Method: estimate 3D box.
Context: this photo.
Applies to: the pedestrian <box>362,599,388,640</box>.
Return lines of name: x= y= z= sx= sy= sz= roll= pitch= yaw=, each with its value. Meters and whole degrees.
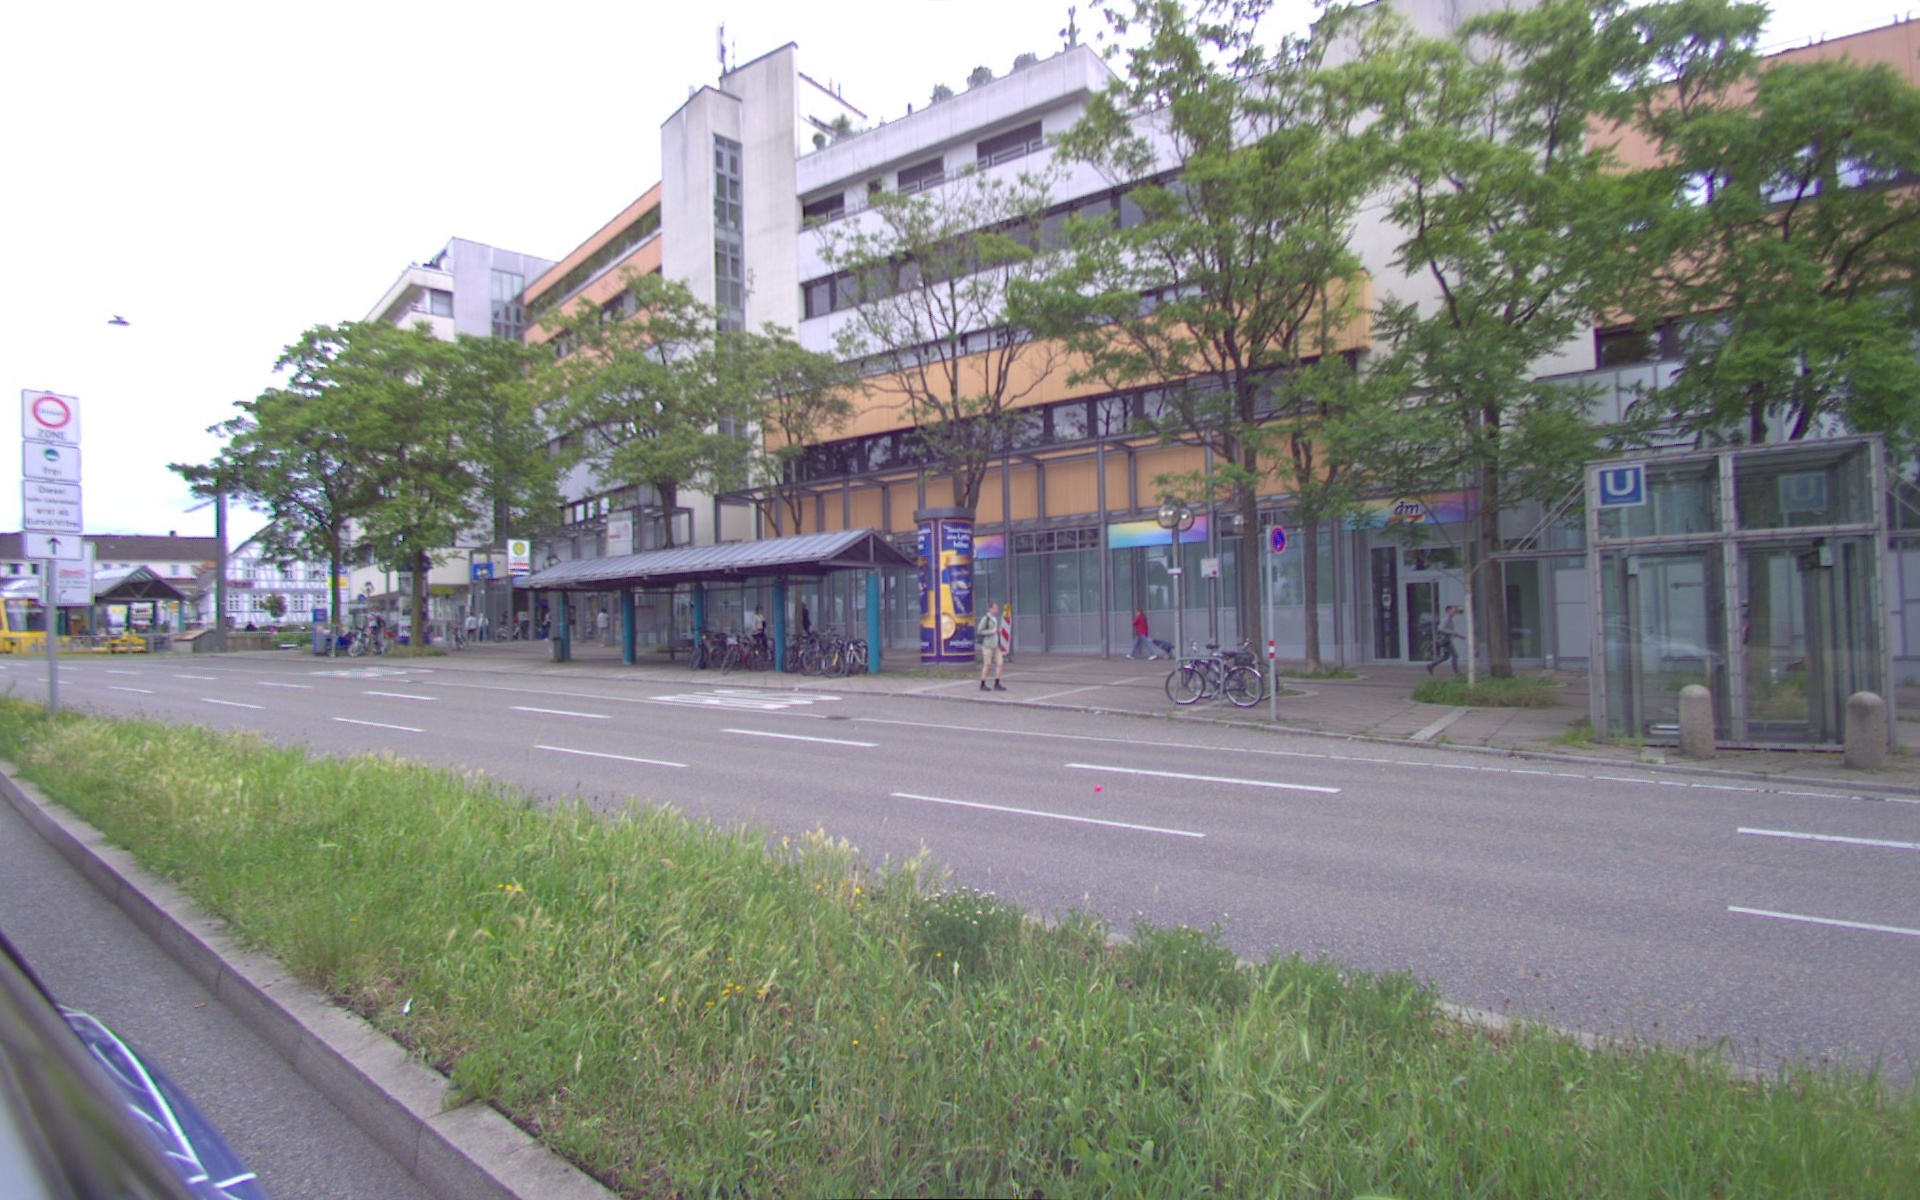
pedestrian: x=-27.365 y=0.903 z=47.312 sx=0.871 sy=1.891 sz=0.738 roll=-2 pitch=-2 yaw=32

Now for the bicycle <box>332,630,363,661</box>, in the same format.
bicycle: x=-24.161 y=1.785 z=39.932 sx=0.594 sy=1.170 sz=1.971 roll=0 pitch=-2 yaw=-18

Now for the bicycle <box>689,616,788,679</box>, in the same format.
bicycle: x=-6.070 y=1.275 z=27.951 sx=0.888 sy=1.518 sz=2.877 roll=-2 pitch=1 yaw=32

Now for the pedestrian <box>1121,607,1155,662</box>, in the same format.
pedestrian: x=5.278 y=1.022 z=29.954 sx=0.822 sy=1.598 sz=0.629 roll=-1 pitch=-2 yaw=31

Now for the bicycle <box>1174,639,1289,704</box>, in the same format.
bicycle: x=5.022 y=1.302 z=18.762 sx=1.946 sy=1.145 sz=0.709 roll=-1 pitch=-2 yaw=26

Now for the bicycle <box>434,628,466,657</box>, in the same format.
bicycle: x=-21.464 y=1.779 z=42.609 sx=0.663 sy=1.170 sz=2.023 roll=-1 pitch=-2 yaw=-11

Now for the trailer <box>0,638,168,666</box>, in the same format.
trailer: x=-46.802 y=2.773 z=53.895 sx=12.072 sy=1.343 sz=2.822 roll=-2 pitch=-2 yaw=29

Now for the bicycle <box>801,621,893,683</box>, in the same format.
bicycle: x=-2.856 y=1.299 z=26.010 sx=0.698 sy=1.518 sz=2.876 roll=-2 pitch=-2 yaw=32

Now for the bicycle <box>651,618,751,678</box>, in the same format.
bicycle: x=-7.313 y=1.325 z=28.775 sx=0.969 sy=1.518 sz=2.877 roll=-2 pitch=0 yaw=32

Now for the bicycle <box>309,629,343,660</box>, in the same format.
bicycle: x=-25.034 y=1.744 z=39.977 sx=0.594 sy=1.170 sz=1.971 roll=-2 pitch=0 yaw=-17

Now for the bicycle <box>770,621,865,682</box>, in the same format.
bicycle: x=-3.675 y=1.309 z=26.447 sx=0.776 sy=1.518 sz=2.876 roll=-2 pitch=-2 yaw=32

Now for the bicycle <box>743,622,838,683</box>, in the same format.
bicycle: x=-4.458 y=1.361 z=26.925 sx=0.803 sy=1.518 sz=2.876 roll=-2 pitch=-2 yaw=32

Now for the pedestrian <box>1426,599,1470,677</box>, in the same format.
pedestrian: x=11.206 y=0.867 z=23.248 sx=0.787 sy=1.729 sz=0.764 roll=-2 pitch=0 yaw=32

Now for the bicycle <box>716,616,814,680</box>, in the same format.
bicycle: x=-5.236 y=1.251 z=27.404 sx=0.809 sy=1.518 sz=2.876 roll=-2 pitch=1 yaw=33

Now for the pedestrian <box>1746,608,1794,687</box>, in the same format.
pedestrian: x=16.791 y=0.978 z=20.993 sx=0.678 sy=1.601 sz=0.513 roll=-2 pitch=-2 yaw=32

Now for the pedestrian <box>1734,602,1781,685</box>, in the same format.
pedestrian: x=16.979 y=0.921 z=21.571 sx=0.678 sy=1.740 sz=0.560 roll=-2 pitch=-2 yaw=32

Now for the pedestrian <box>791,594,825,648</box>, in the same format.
pedestrian: x=-5.853 y=0.818 z=39.054 sx=0.932 sy=2.029 sz=0.888 roll=-1 pitch=-2 yaw=37

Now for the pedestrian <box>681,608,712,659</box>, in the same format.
pedestrian: x=-9.116 y=1.148 z=35.028 sx=0.763 sy=1.729 sz=0.789 roll=-2 pitch=0 yaw=-32

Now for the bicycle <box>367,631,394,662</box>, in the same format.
bicycle: x=-22.807 y=1.829 z=39.848 sx=0.594 sy=1.170 sz=1.695 roll=0 pitch=-2 yaw=-19

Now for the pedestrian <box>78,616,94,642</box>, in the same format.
pedestrian: x=-53.162 y=1.780 z=61.553 sx=0.618 sy=1.585 sz=0.594 roll=-2 pitch=-2 yaw=30

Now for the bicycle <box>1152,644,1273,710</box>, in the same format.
bicycle: x=4.434 y=1.340 z=17.827 sx=1.926 sy=1.092 sz=0.825 roll=-2 pitch=-2 yaw=27

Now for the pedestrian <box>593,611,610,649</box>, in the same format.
pedestrian: x=-15.510 y=1.290 z=43.766 sx=0.623 sy=1.612 sz=0.625 roll=-2 pitch=0 yaw=-25

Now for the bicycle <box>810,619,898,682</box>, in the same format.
bicycle: x=-2.668 y=1.263 z=25.898 sx=0.597 sy=1.518 sz=2.876 roll=-2 pitch=-2 yaw=32

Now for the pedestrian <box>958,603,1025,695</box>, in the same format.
pedestrian: x=0.658 y=1.001 z=21.191 sx=1.212 sy=1.836 sz=0.697 roll=-1 pitch=1 yaw=37

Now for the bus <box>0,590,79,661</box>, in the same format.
bus: x=-60.554 y=1.719 z=61.775 sx=19.255 sy=3.889 sz=3.851 roll=-2 pitch=-2 yaw=29

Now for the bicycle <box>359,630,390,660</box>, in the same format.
bicycle: x=-23.721 y=1.811 z=41.000 sx=1.966 sy=1.170 sz=0.596 roll=-3 pitch=-3 yaw=44
